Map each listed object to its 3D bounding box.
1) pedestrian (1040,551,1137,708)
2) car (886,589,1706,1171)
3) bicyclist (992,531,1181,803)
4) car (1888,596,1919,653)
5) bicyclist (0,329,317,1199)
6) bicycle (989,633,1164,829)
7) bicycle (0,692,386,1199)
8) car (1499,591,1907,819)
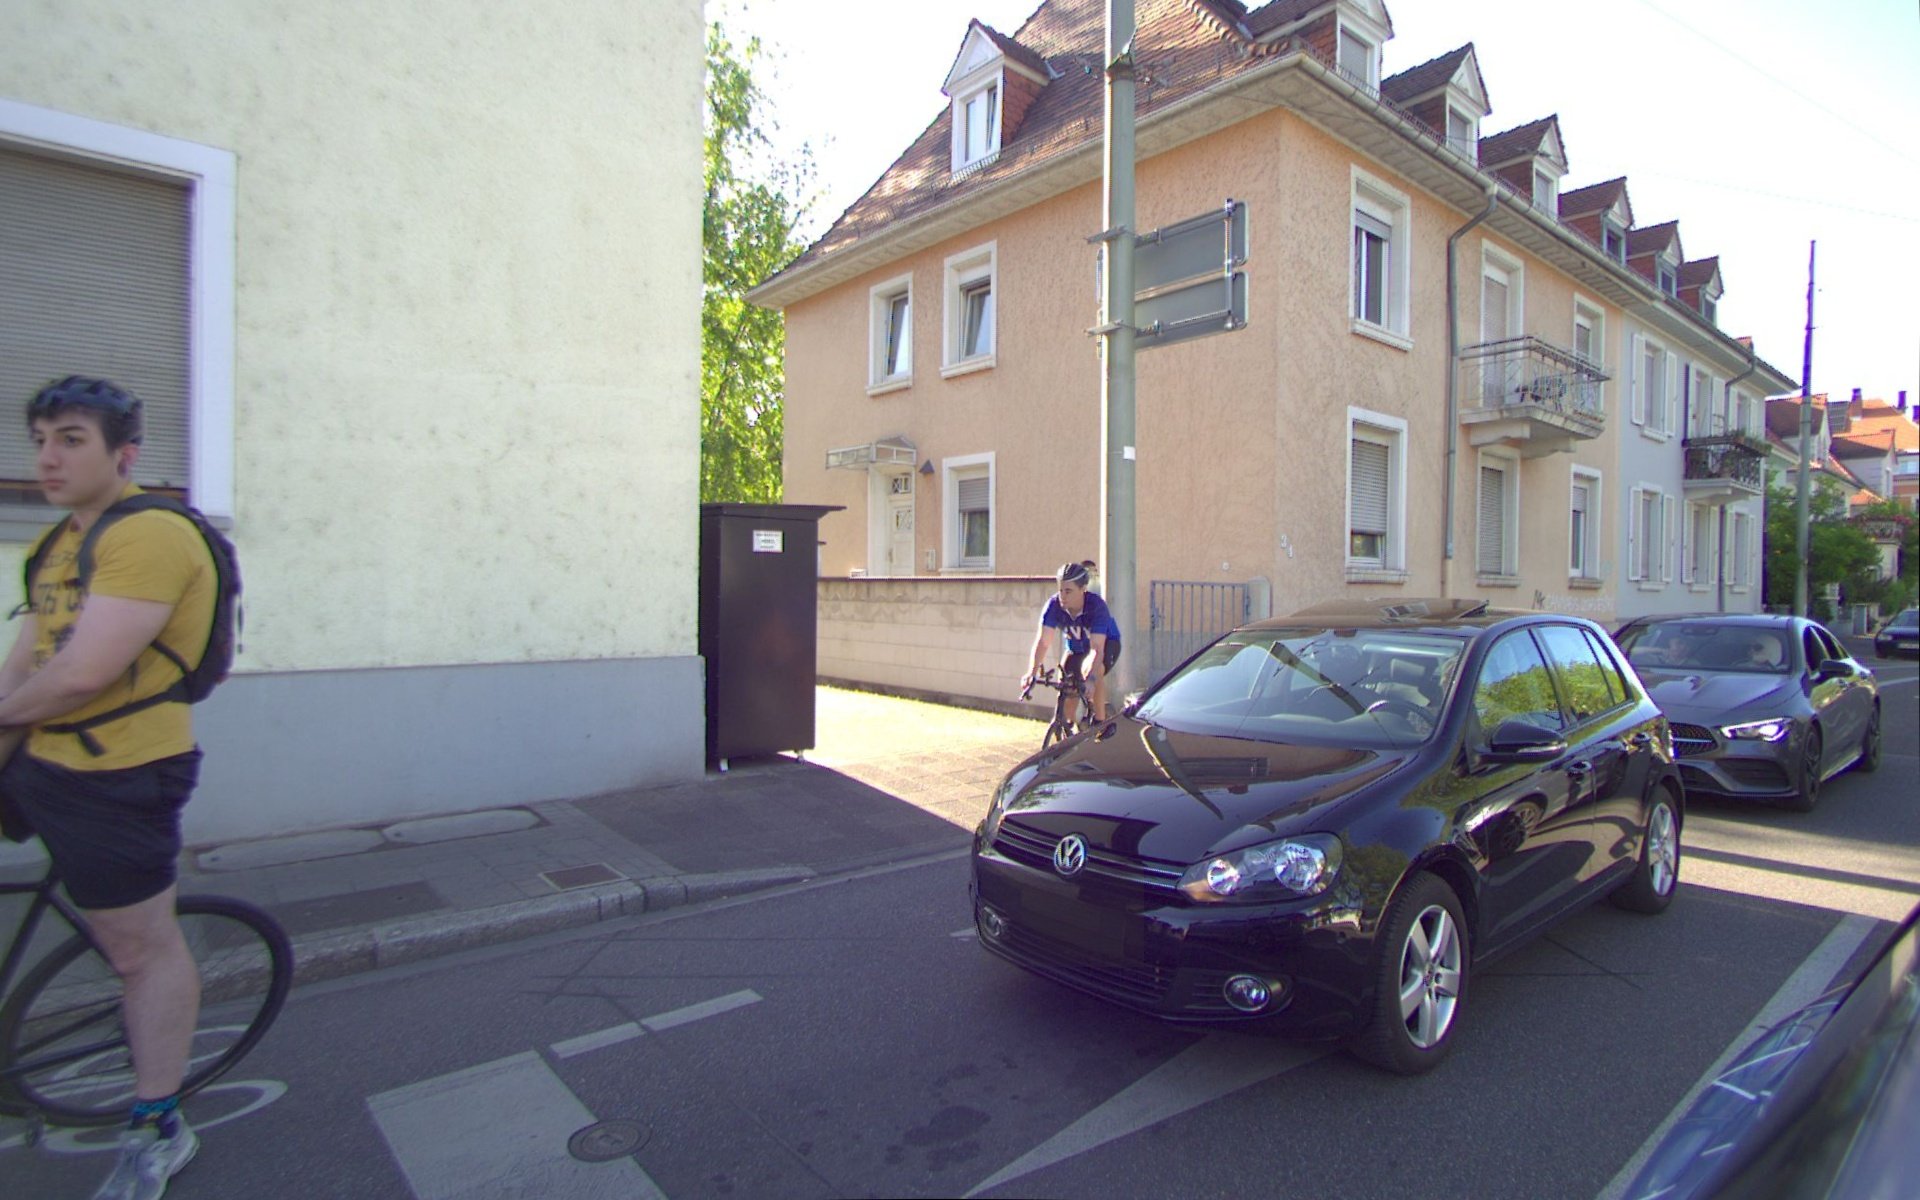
[{"bbox_3d":[1.422,0.307,11.254,0.600,1.624,0.760,0,6,-43],"label":"pedestrian"},{"bbox_3d":[1.750,0.688,4.500,3.921,1.456,1.716,-1,0,-41],"label":"car"},{"bbox_3d":[0.889,0.410,7.103,1.013,1.714,0.722,5,4,31],"label":"bicyclist"},{"bbox_3d":[26.740,0.633,27.431,4.258,1.448,1.824,-1,0,-40],"label":"car"},{"bbox_3d":[-2.183,0.430,2.498,0.777,1.991,0.768,0,0,36],"label":"bicyclist"},{"bbox_3d":[0.865,0.842,7.128,0.551,1.088,1.608,5,4,31],"label":"bicycle"},{"bbox_3d":[-2.440,0.868,2.396,0.777,1.120,1.720,0,0,36],"label":"bicycle"},{"bbox_3d":[6.459,0.690,8.600,4.410,1.449,1.824,1,0,-40],"label":"car"}]
